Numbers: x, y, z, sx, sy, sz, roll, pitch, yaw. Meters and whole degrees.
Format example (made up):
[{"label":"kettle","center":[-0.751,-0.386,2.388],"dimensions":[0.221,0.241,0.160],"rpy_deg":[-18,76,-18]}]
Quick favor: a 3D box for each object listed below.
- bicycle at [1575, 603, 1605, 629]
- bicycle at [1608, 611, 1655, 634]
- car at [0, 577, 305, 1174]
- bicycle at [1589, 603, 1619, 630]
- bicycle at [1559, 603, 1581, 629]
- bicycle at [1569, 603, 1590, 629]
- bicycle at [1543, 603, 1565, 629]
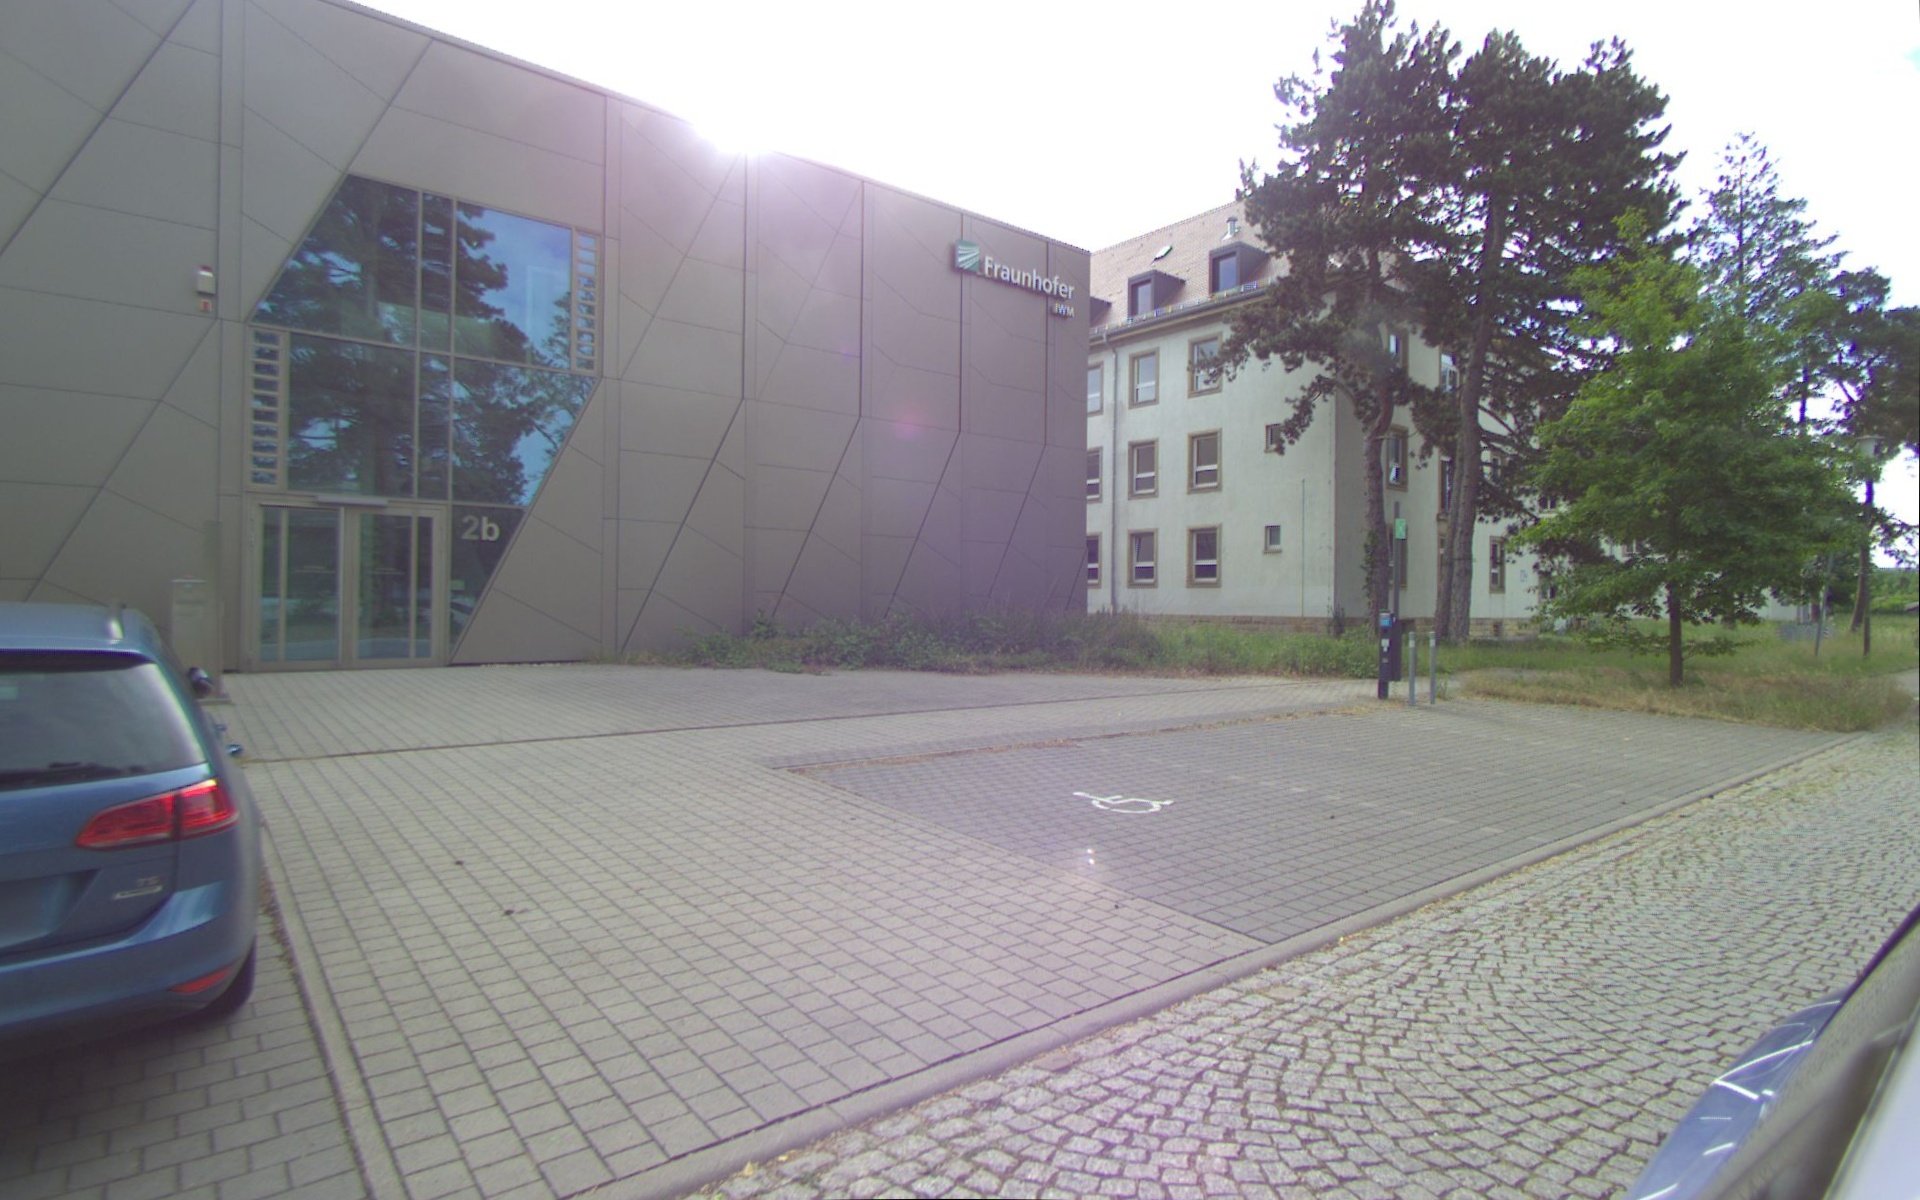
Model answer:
[{"label":"bicycle","center":[32.522,0.815,52.235],"dimensions":[1.801,1.349,0.573],"rpy_deg":[1,-1,-32]},{"label":"bicycle","center":[32.808,1.090,49.442],"dimensions":[0.562,1.099,1.837],"rpy_deg":[-1,1,-35]},{"label":"car","center":[-4.124,0.677,4.186],"dimensions":[1.791,1.461,4.531],"rpy_deg":[1,2,-40]},{"label":"bicycle","center":[33.001,0.829,51.819],"dimensions":[1.801,1.349,0.573],"rpy_deg":[1,-1,-32]},{"label":"bicycle","center":[31.956,0.836,52.974],"dimensions":[1.808,1.349,0.571],"rpy_deg":[1,-1,-45]},{"label":"bicycle","center":[32.219,0.826,52.629],"dimensions":[1.808,1.349,0.481],"rpy_deg":[1,-1,-45]},{"label":"bicycle","center":[31.429,0.833,53.529],"dimensions":[1.808,1.349,0.571],"rpy_deg":[1,-1,-45]}]
